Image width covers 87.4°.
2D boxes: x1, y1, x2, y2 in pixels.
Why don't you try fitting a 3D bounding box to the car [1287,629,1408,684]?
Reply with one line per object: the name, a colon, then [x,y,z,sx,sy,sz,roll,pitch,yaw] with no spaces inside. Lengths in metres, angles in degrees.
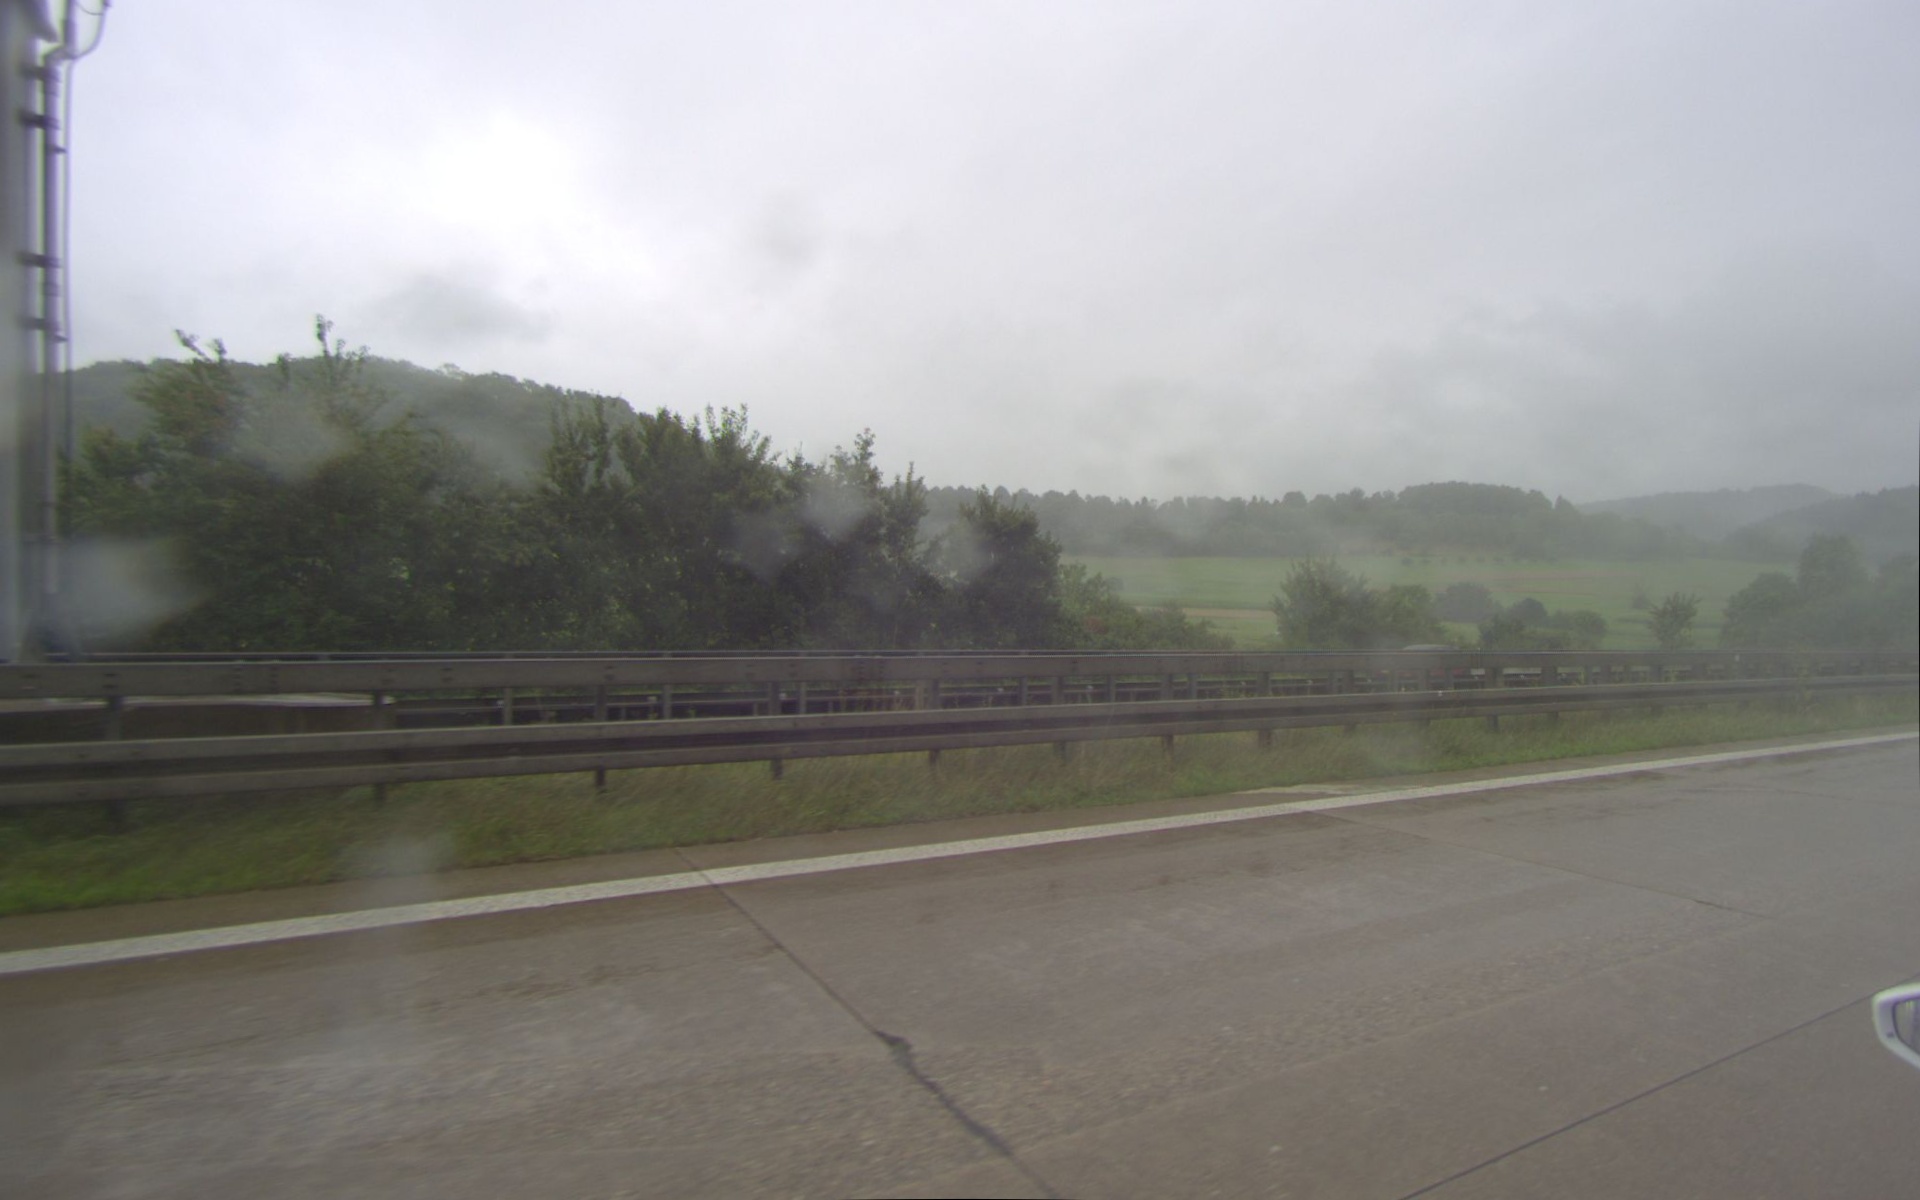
car: [13.897,1.998,35.998,3.953,1.806,1.984,2,0,-30]
